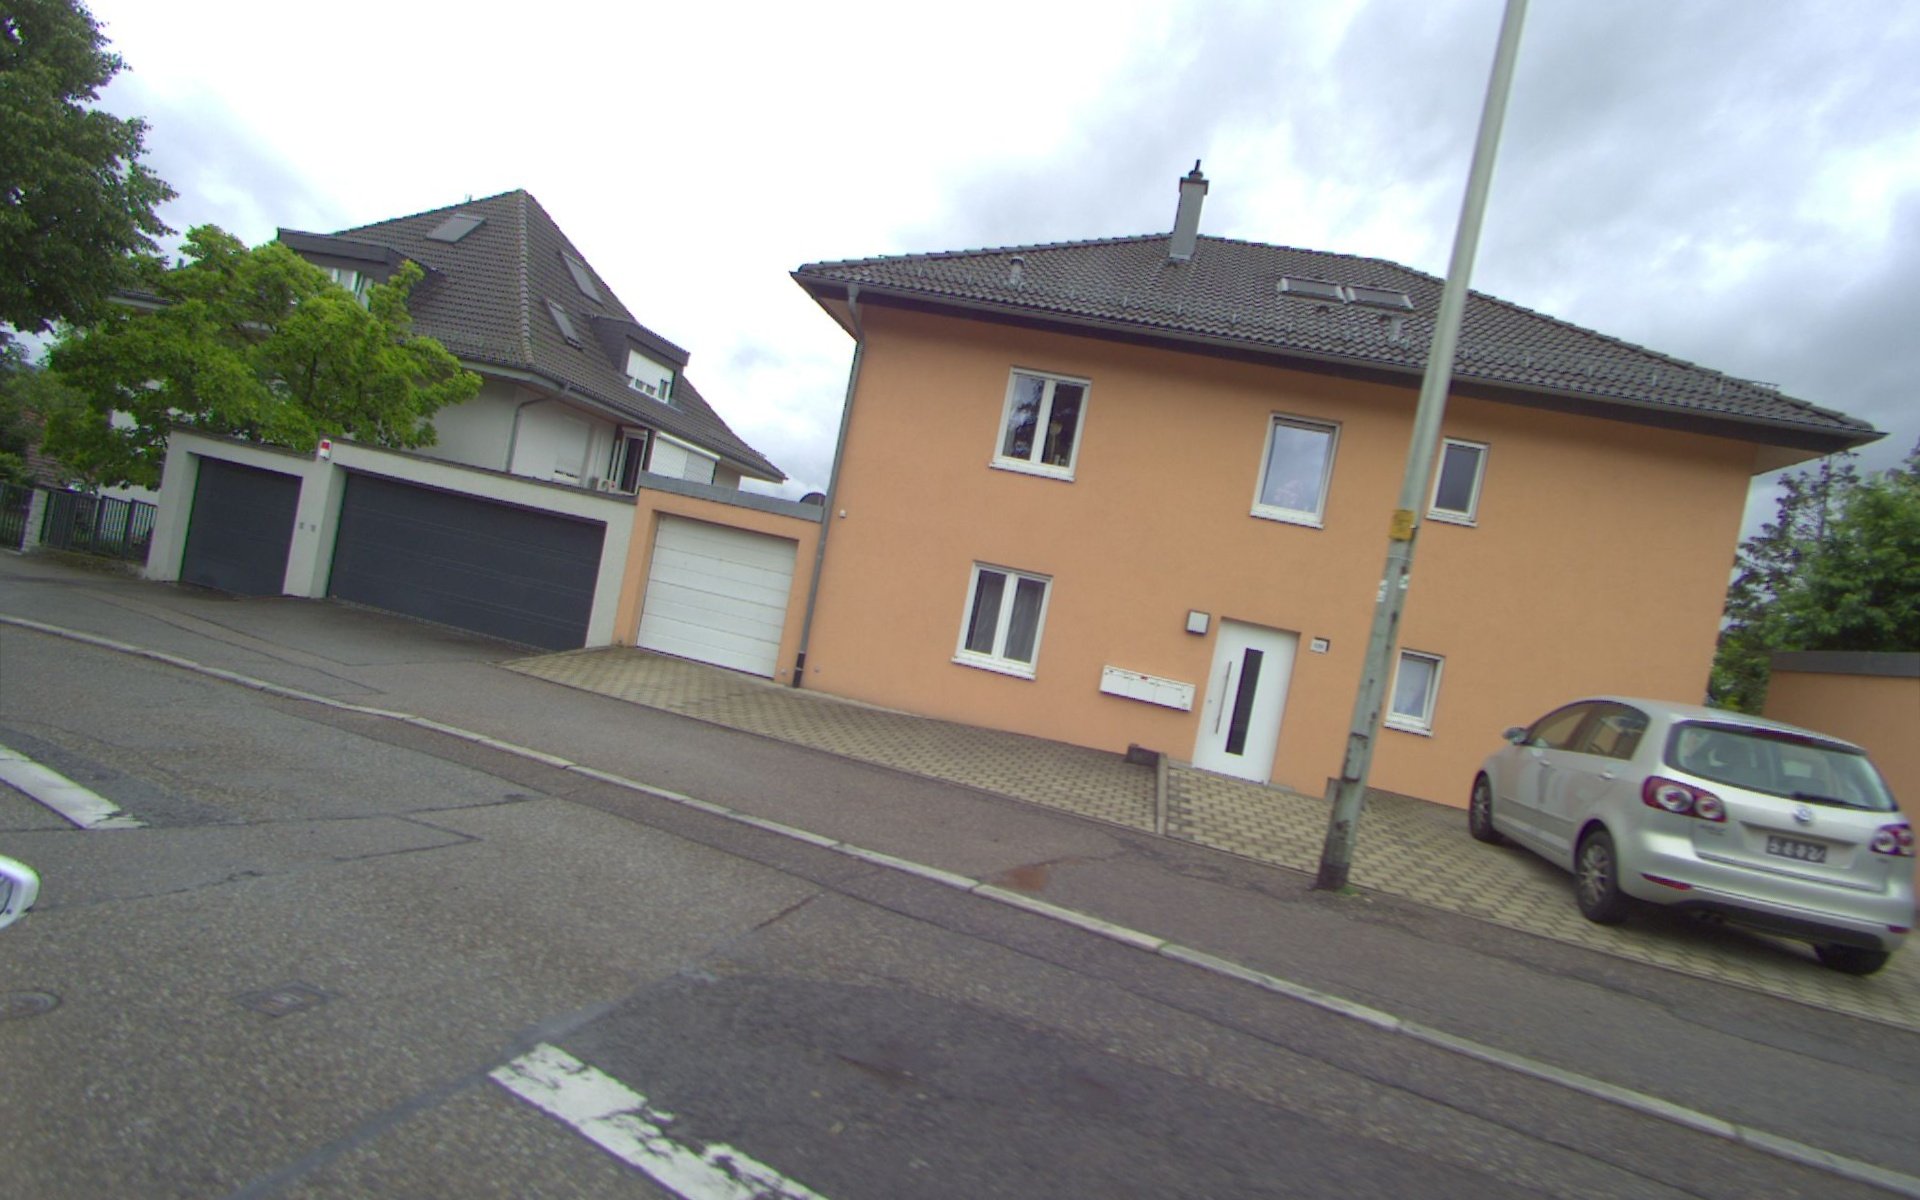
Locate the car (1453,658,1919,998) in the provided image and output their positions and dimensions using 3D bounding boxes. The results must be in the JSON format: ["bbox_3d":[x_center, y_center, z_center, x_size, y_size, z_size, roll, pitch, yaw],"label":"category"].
[{"bbox_3d":[5.516,1.487,8.001,1.694,1.586,3.869,9,2,11],"label":"car"}]
